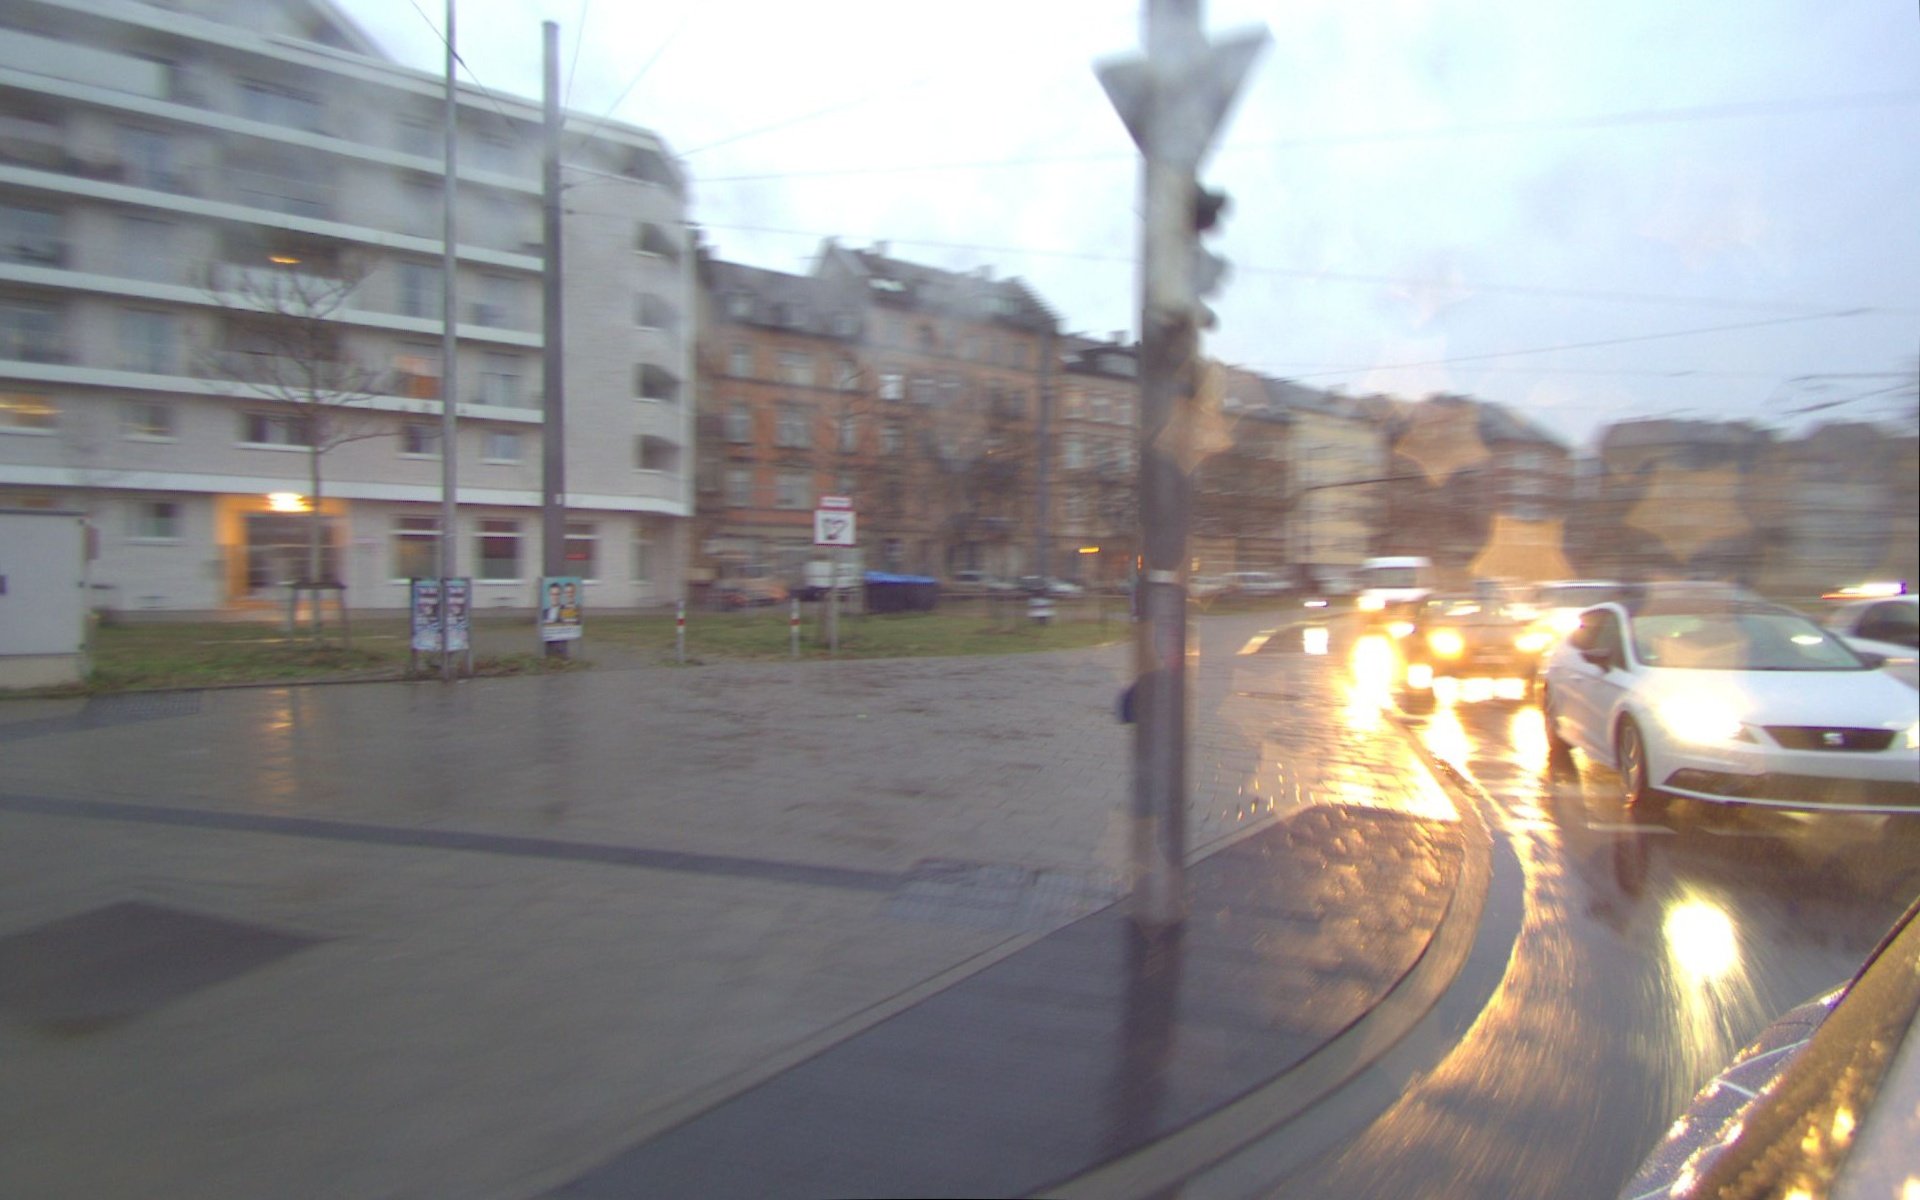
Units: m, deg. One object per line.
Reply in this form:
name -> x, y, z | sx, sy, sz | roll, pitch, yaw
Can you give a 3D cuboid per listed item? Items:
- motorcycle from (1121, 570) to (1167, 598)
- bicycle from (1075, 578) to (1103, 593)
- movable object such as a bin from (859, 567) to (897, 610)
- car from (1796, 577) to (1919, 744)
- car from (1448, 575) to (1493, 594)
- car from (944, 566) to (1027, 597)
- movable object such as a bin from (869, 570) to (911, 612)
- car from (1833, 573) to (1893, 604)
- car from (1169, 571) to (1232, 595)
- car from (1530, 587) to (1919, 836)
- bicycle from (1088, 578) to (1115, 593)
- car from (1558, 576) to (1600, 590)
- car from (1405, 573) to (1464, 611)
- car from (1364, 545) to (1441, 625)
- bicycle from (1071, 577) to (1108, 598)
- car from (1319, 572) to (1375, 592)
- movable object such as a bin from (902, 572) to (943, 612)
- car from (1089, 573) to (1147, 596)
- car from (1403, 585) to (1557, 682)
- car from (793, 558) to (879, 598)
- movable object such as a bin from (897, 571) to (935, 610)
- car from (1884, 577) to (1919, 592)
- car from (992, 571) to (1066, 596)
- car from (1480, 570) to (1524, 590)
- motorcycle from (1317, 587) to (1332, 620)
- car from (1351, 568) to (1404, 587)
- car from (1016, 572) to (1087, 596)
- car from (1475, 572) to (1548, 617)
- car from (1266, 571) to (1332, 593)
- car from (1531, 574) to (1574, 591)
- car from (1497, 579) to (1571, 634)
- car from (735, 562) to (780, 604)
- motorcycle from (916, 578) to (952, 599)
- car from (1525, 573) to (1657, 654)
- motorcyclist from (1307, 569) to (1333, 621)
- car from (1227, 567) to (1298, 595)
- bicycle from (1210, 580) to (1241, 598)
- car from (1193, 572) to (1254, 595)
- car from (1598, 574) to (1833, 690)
motorcycle -> 10.230, -0.900, 56.384 | 2.348, 1.362, 0.872 | 5, 5, 40
bicycle -> 7.724, -0.861, 60.545 | 0.438, 0.787, 1.794 | 0, 3, -40
movable object such as a bin -> -3.122, -0.459, 38.460 | 1.117, 1.595, 1.054 | 0, 1, -29
car -> 9.571, 0.546, 9.082 | 1.739, 1.482, 3.898 | -1, 1, 16
car -> 42.046, -1.290, 83.294 | 3.165, 1.446, 1.411 | 1, 1, 34
car -> 1.359, -0.991, 53.696 | 4.113, 1.589, 1.727 | 1, 1, 25
movable object such as a bin -> -2.599, -0.352, 37.383 | 1.227, 1.529, 1.054 | 0, 1, -29
car -> 43.651, -0.572, 49.011 | 1.635, 1.403, 4.420 | 1, 2, 35
car -> 15.232, -1.089, 64.065 | 3.652, 1.417, 1.507 | 1, 1, 27
car -> 5.953, 0.635, 7.968 | 1.766, 1.396, 4.198 | -1, 1, 19
bicycle -> 8.579, -0.892, 61.371 | 0.387, 0.827, 1.792 | 0, 3, -43
car -> 55.737, -1.539, 91.125 | 3.167, 1.299, 1.364 | 1, 2, 36
car -> 22.506, -0.402, 47.954 | 1.866, 1.709, 4.118 | 0, 1, 35
car -> 15.089, -0.540, 34.604 | 2.218, 2.493, 5.625 | 0, 1, 23
bicycle -> 6.952, -0.680, 54.459 | 1.867, 1.031, 0.538 | 1, 2, -14
car -> 27.512, -1.272, 71.956 | 3.584, 1.387, 1.601 | 1, 1, 30
movable object such as a bin -> -1.416, -0.317, 38.092 | 1.200, 1.450, 1.054 | 0, 1, -29
car -> 9.767, -0.975, 62.638 | 3.268, 1.322, 1.507 | 1, 1, 27
car -> 8.612, 0.468, 17.073 | 1.701, 1.405, 3.800 | 0, 1, 18
car -> -7.110, -1.254, 58.243 | 4.574, 2.216, 2.000 | -1, 1, -36
movable object such as a bin -> -1.723, -0.368, 39.413 | 1.117, 1.504, 1.054 | 0, 1, -29
car -> 90.835, -1.535, 97.518 | 3.544, 1.387, 1.754 | -1, 1, -33
car -> 3.738, -0.924, 55.056 | 3.650, 1.322, 1.727 | 1, 1, 25
car -> 45.332, -1.703, 84.637 | 3.165, 1.644, 1.411 | 1, 1, 34
motorcycle -> 13.765, 0.116, 38.167 | 0.478, 1.198, 2.393 | 1, 1, 21
car -> 31.181, -1.670, 75.582 | 3.575, 1.387, 1.605 | 1, 1, 25
car -> 5.164, -0.905, 56.864 | 3.650, 1.322, 1.654 | 1, 1, 25
car -> 19.815, -0.219, 36.275 | 1.865, 1.493, 4.118 | 0, 1, 35
car -> 22.953, -1.250, 68.548 | 3.933, 1.463, 1.683 | 1, 1, 31
car -> 52.220, -1.543, 89.196 | 3.167, 1.431, 1.364 | 1, 1, 36
car -> 16.365, 0.131, 28.960 | 1.674, 1.448, 3.316 | 0, 1, 27
car -> -9.970, -0.865, 50.050 | 1.903, 1.966, 4.606 | 0, 1, -8
motorcycle -> -1.307, -0.583, 51.134 | 1.778, 0.943, 0.508 | 3, 3, 27
car -> 14.023, 0.225, 22.729 | 1.656, 1.619, 4.195 | 1, 1, 20
motorcyclist -> 13.595, -0.193, 38.167 | 0.876, 1.905, 0.915 | 1, 1, 22
car -> 20.119, -1.304, 67.274 | 4.301, 1.790, 1.766 | 1, 1, 26
bicycle -> 15.214, -0.642, 58.035 | 0.437, 0.943, 1.796 | 0, 3, -36
car -> 17.159, -1.081, 65.953 | 3.652, 1.455, 1.507 | 1, 1, 27
car -> 11.896, 0.392, 16.302 | 1.804, 1.589, 4.334 | 1, 1, 20
